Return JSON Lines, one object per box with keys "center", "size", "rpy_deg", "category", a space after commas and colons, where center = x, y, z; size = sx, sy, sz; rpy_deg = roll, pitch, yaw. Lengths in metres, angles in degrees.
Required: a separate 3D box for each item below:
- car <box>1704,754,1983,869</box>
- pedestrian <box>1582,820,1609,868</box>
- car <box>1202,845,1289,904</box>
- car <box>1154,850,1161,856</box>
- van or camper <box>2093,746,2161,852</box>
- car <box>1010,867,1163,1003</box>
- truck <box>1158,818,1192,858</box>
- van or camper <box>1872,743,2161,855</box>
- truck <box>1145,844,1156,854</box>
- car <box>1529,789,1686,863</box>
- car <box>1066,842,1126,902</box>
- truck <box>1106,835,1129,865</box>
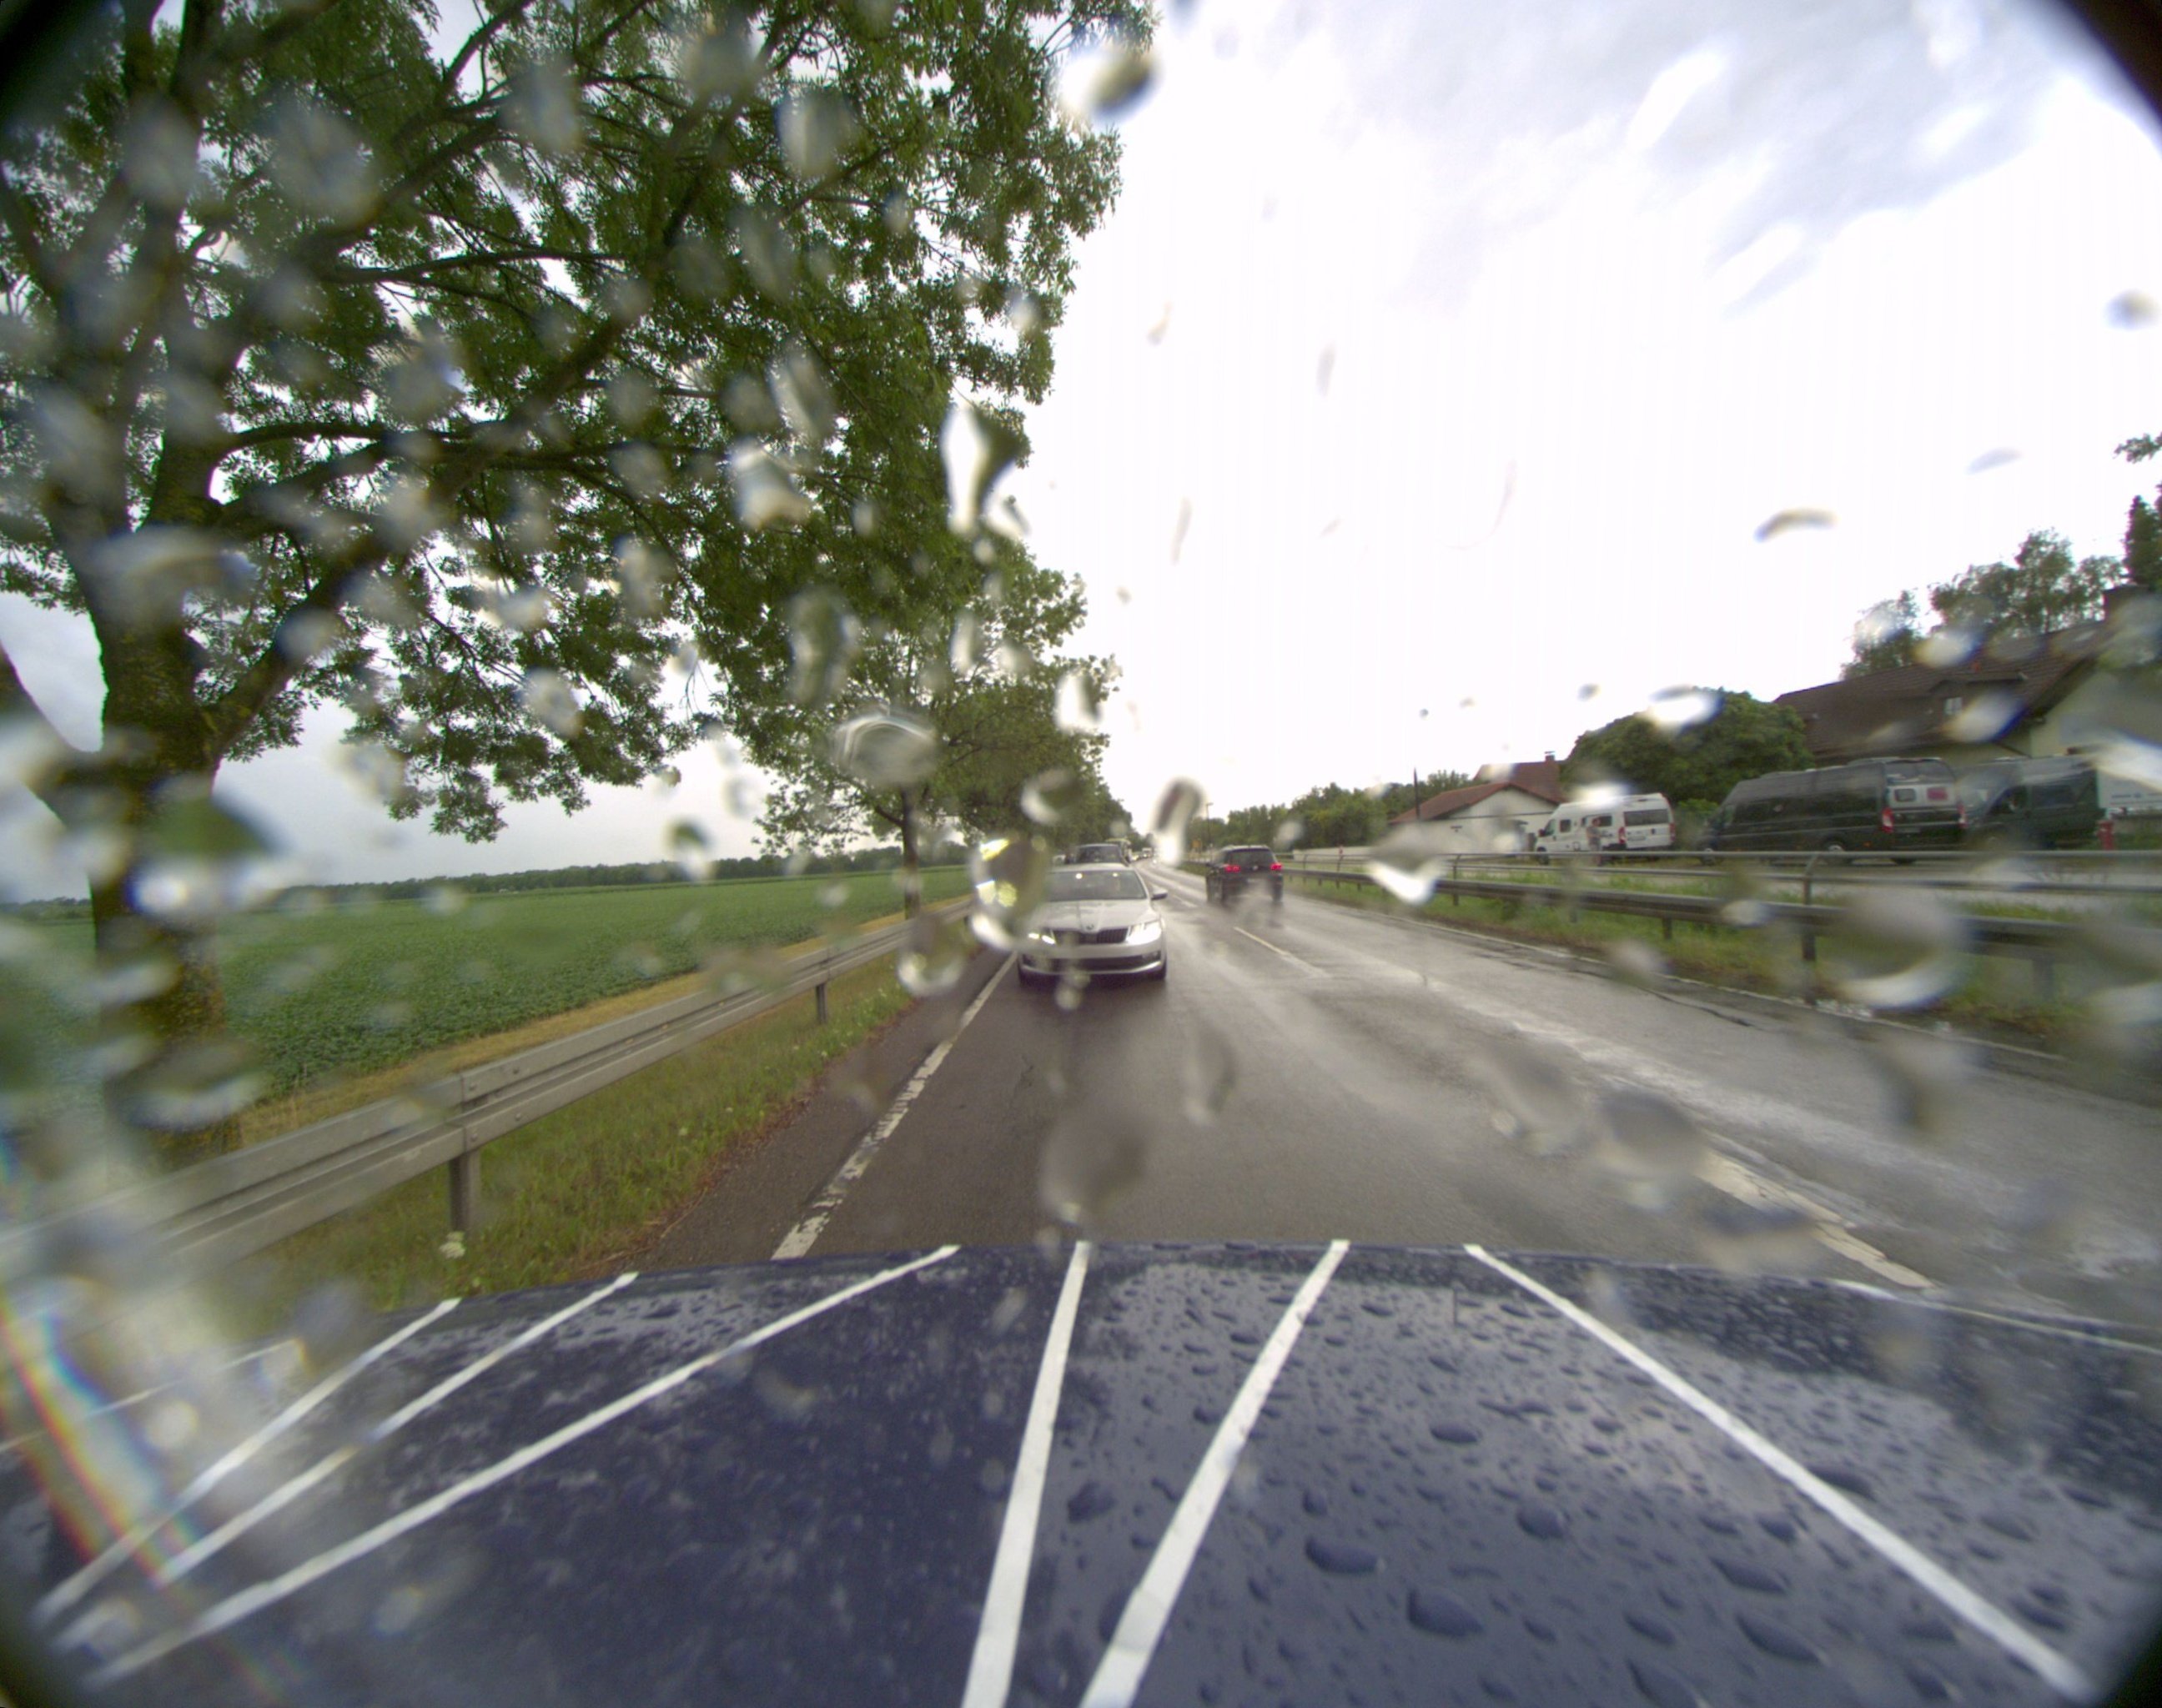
{"center": [21.467, -1.079, 21.903], "size": [2.389, 2.747, 5.573], "rpy_deg": [-4, 0, 1], "category": "car"}
{"center": [18.476, -0.360, 27.296], "size": [0.516, 1.701, 0.650], "rpy_deg": [-3, 1, 9], "category": "pedestrian"}
{"center": [4.922, 0.566, 23.297], "size": [1.768, 1.610, 4.000], "rpy_deg": [-2, 0, 0], "category": "car"}
{"center": [24.208, -0.439, 239.620], "size": [1.811, 1.723, 4.027], "rpy_deg": [-4, 0, 2], "category": "car"}
{"center": [29.487, -1.551, 18.486], "size": [6.239, 2.576, 2.562], "rpy_deg": [-4, 0, 0], "category": "van or camper"}
{"center": [0.085, 0.952, 10.614], "size": [1.705, 1.438, 4.000], "rpy_deg": [-1, 0, 1], "category": "car"}
{"center": [12.412, -2.065, 101.078], "size": [3.256, 5.004, 7.783], "rpy_deg": [-4, 0, 0], "category": "truck"}
{"center": [27.910, -1.557, 22.626], "size": [6.068, 2.785, 2.434], "rpy_deg": [-4, 0, 0], "category": "van or camper"}
{"center": [19.286, -1.370, 211.613], "size": [2.800, 2.461, 7.169], "rpy_deg": [-4, 0, 4], "category": "truck"}
{"center": [21.229, -1.037, 31.088], "size": [2.243, 2.565, 6.019], "rpy_deg": [-4, 0, 1], "category": "car"}
{"center": [0.502, 0.586, 26.737], "size": [1.903, 1.884, 4.000], "rpy_deg": [-1, 0, 1], "category": "car"}
{"center": [4.799, -0.528, 101.251], "size": [2.751, 3.547, 8.387], "rpy_deg": [-4, 0, 2], "category": "truck"}
